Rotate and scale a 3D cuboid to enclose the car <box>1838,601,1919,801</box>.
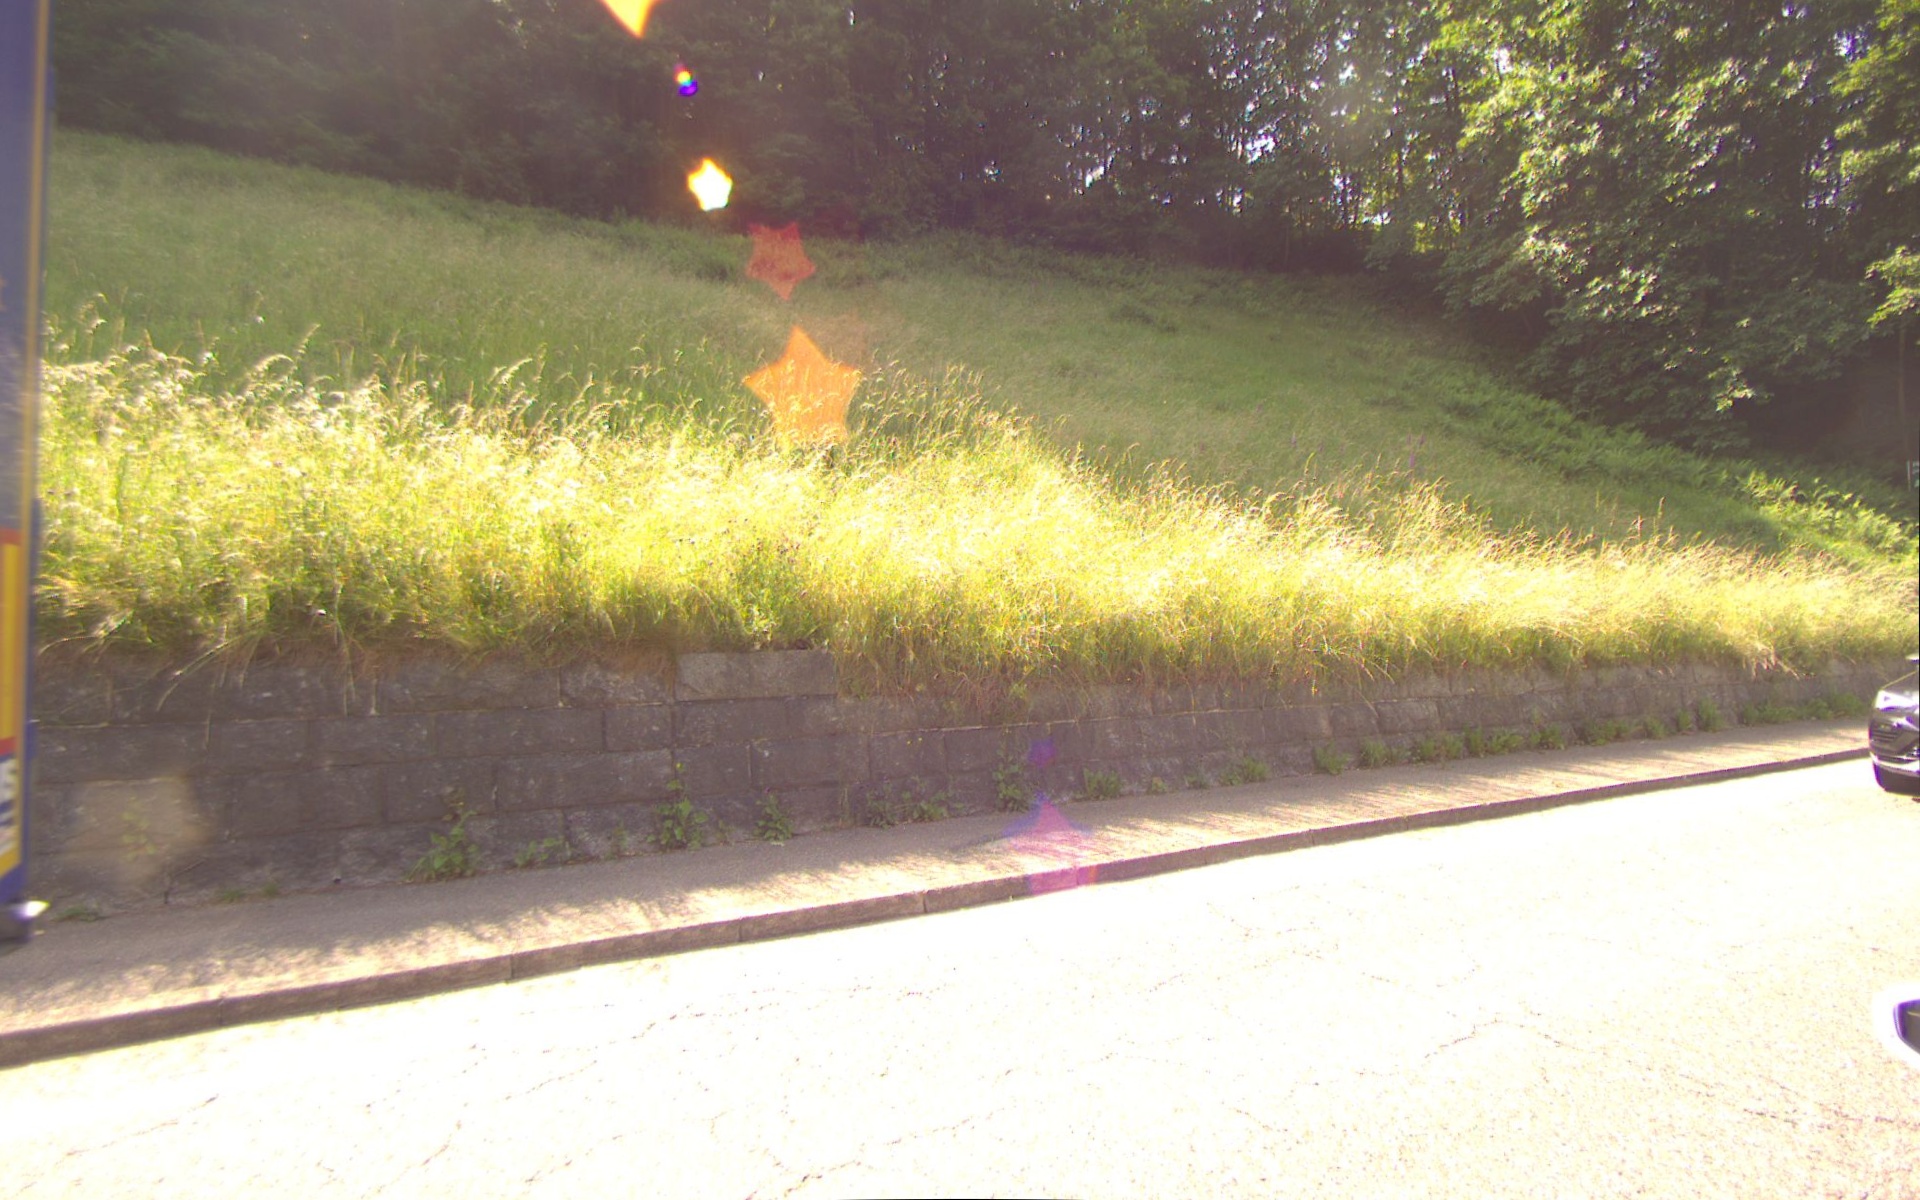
[{"bbox_3d":[9.663,0.823,8.746,4.033,1.605,1.814,0,0,-29],"label":"car"}]
